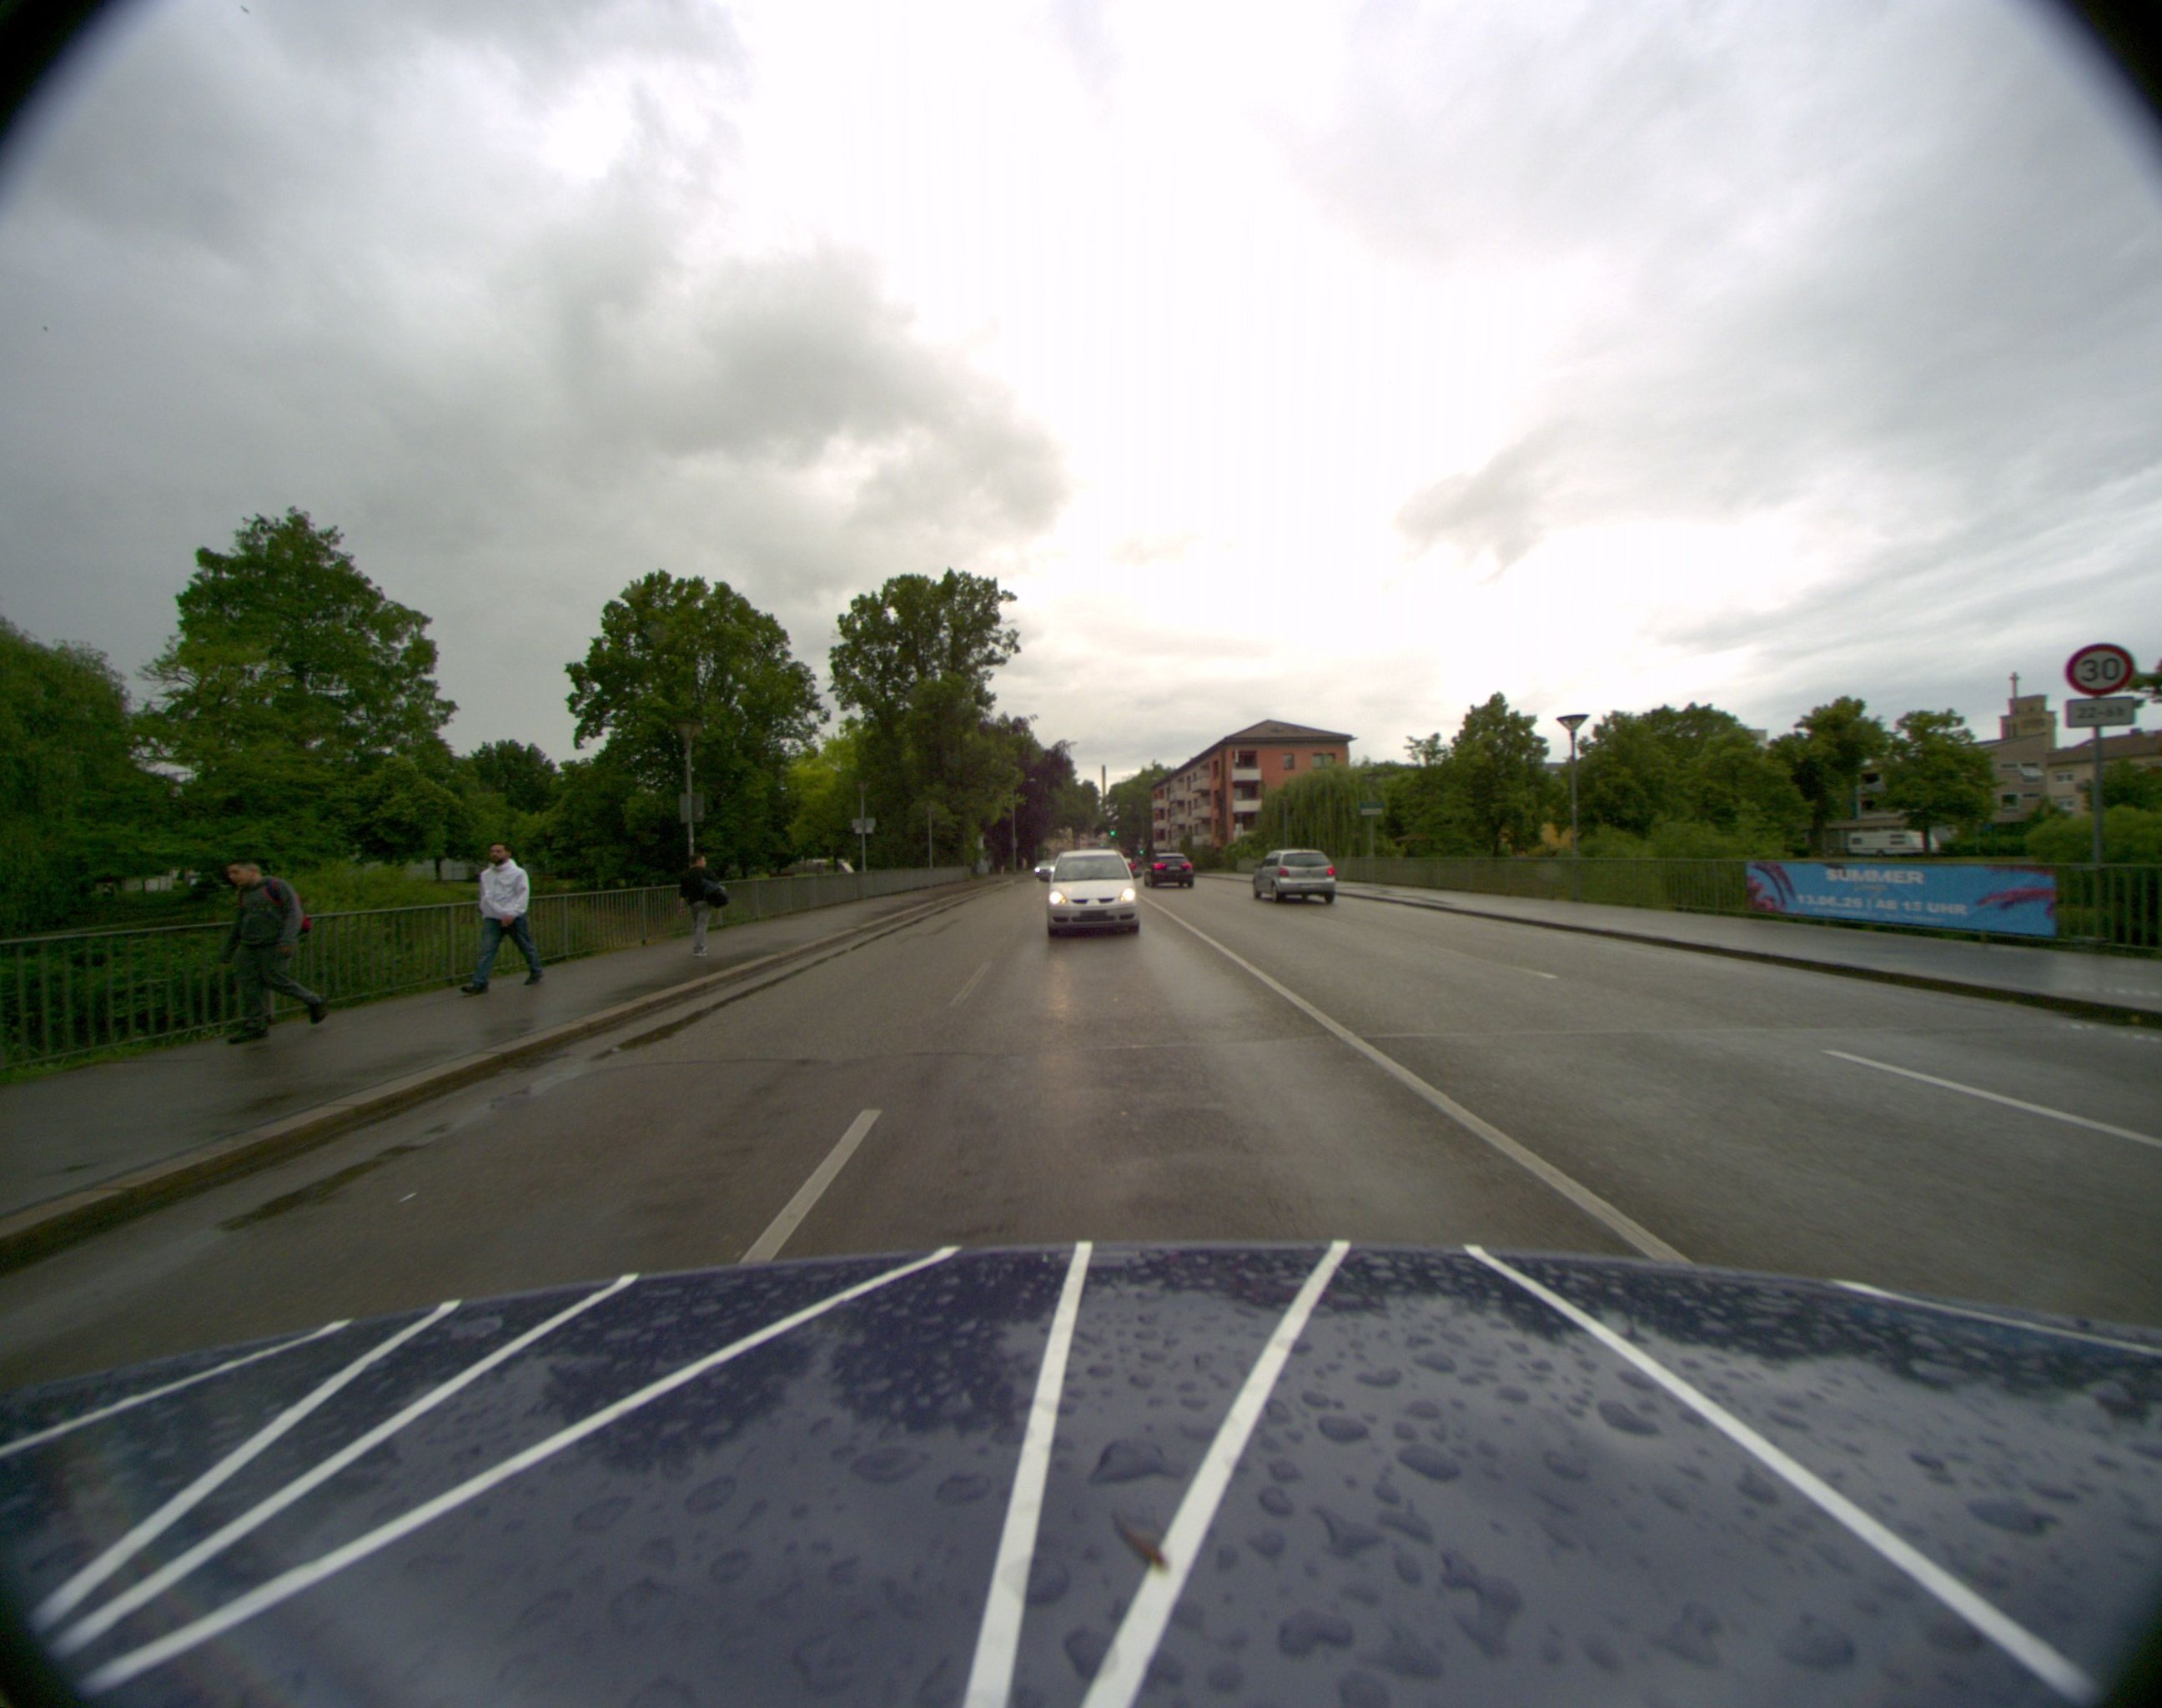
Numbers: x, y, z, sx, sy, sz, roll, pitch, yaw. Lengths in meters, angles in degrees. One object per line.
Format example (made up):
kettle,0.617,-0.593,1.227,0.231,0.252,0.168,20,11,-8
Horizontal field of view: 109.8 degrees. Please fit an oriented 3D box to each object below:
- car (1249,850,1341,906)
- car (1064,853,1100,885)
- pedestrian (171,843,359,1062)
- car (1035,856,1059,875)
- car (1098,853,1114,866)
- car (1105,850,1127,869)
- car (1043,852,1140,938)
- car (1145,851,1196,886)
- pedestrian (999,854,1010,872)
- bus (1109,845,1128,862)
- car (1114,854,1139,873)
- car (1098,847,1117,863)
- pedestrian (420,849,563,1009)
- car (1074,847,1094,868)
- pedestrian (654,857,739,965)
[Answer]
car,6.045,0.619,21.849,1.630,1.411,3.685,-1,1,1
car,0.016,0.728,39.555,1.718,1.509,4.088,-2,0,-1
pedestrian,-7.105,0.814,6.661,0.763,1.798,0.781,-1,1,0
car,-3.010,1.016,68.195,1.906,1.537,3.999,-1,1,1
car,2.910,0.607,88.709,1.750,1.431,4.000,-1,0,0
car,3.231,0.485,70.988,1.893,1.725,4.371,0,0,0
car,0.169,0.748,16.277,1.718,1.509,4.806,-2,0,0
car,3.811,0.592,32.939,1.714,1.408,4.093,0,0,0
pedestrian,-7.208,0.800,71.617,0.850,1.666,1.167,1,1,-1
bus,6.847,-0.142,140.036,2.700,2.923,12.082,0,1,0
car,3.590,0.745,60.659,1.786,1.394,4.218,0,0,0
car,3.725,0.168,107.485,2.295,2.295,6.509,0,-1,0
pedestrian,-6.834,0.822,8.871,0.781,1.742,1.060,-1,1,-1
car,0.313,0.345,82.240,2.037,2.119,3.999,-1,1,1
pedestrian,-5.922,0.854,11.758,0.865,1.610,0.839,0,1,0
